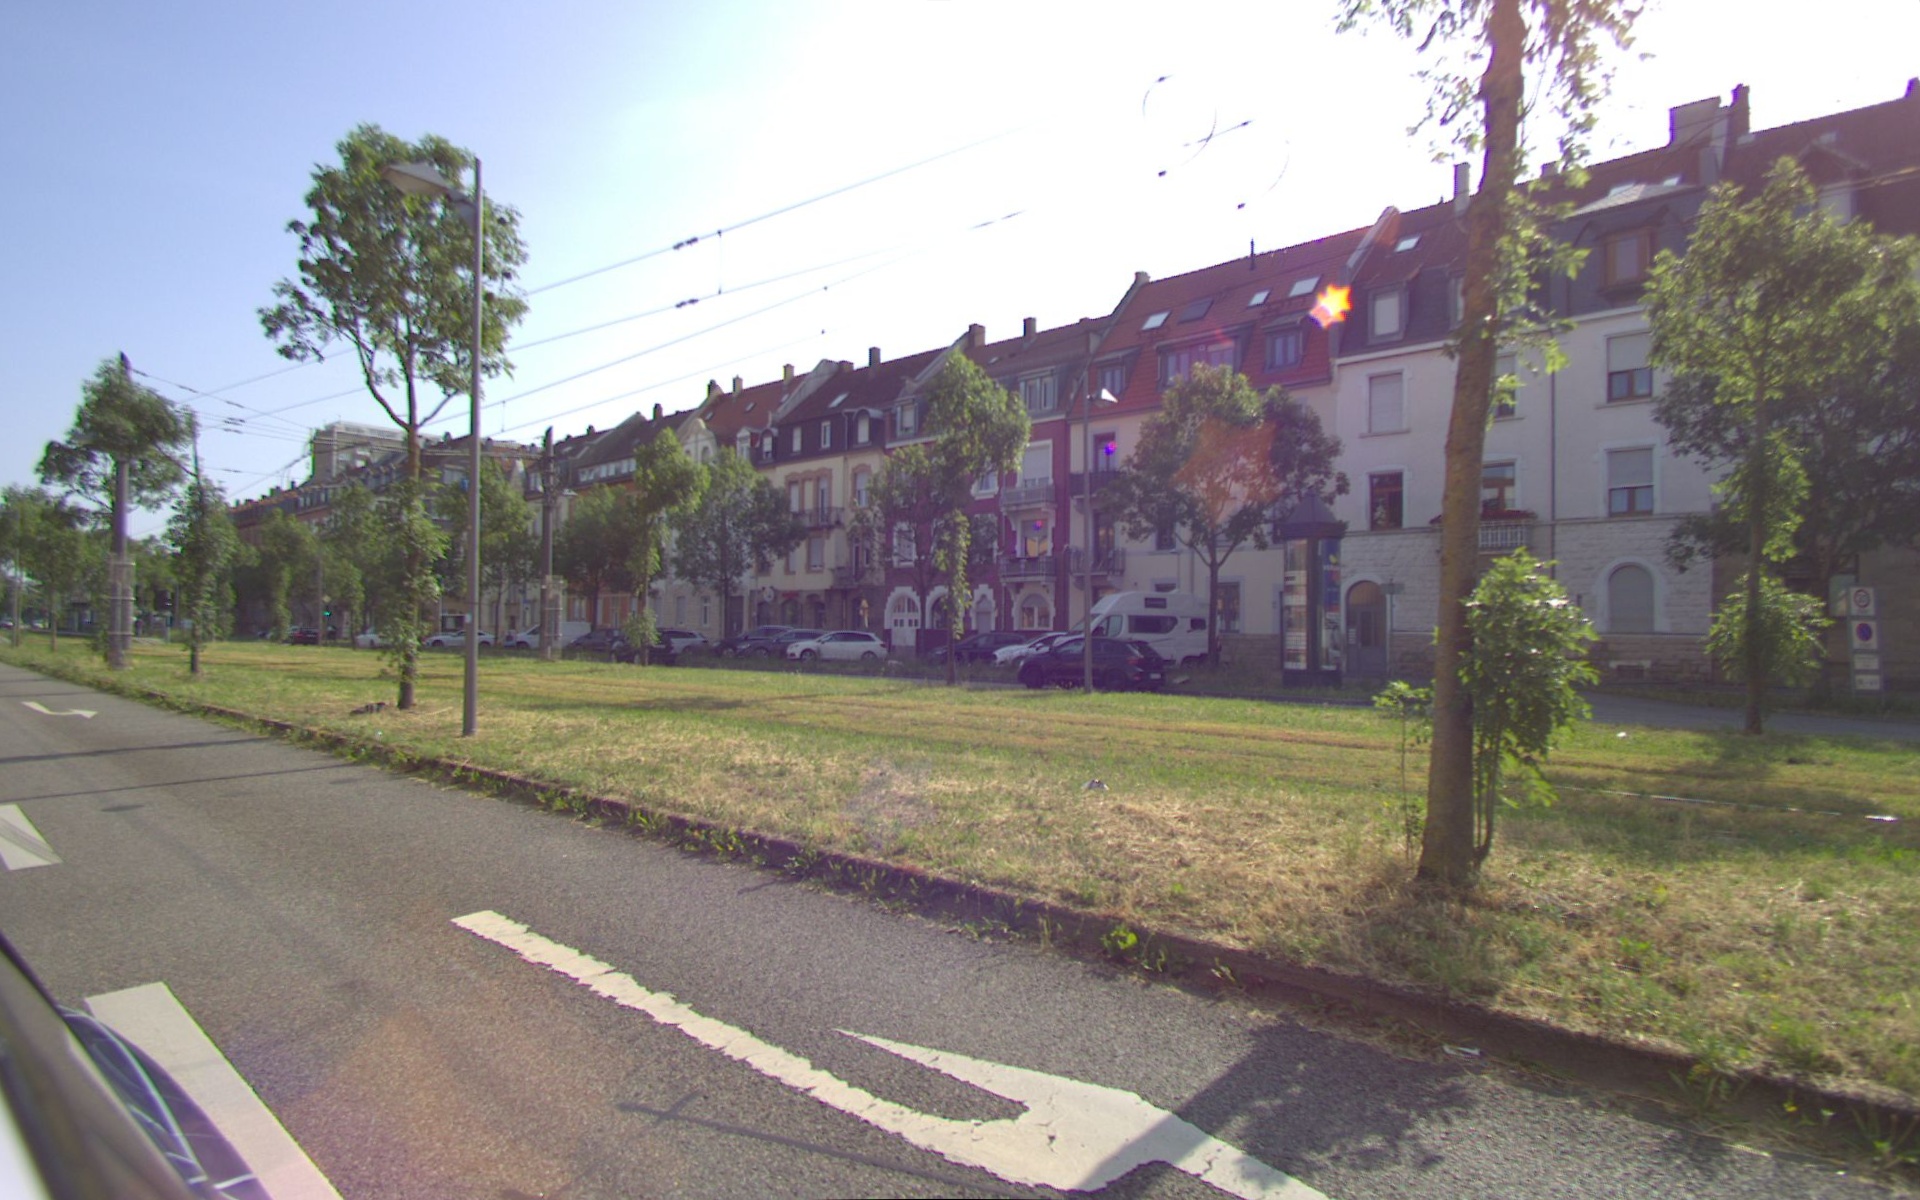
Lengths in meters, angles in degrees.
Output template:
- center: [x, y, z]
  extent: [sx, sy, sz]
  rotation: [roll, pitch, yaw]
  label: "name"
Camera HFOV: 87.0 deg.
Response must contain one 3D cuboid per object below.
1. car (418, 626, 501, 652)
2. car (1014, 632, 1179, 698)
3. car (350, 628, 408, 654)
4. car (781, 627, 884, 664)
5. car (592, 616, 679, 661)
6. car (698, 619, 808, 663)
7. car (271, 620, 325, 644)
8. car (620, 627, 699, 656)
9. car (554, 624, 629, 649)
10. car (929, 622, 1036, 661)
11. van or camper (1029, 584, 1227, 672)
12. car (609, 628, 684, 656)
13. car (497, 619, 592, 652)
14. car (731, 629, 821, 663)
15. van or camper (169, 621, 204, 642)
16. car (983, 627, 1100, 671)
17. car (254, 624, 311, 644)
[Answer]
- center: [-33.399, 2.597, 67.641]
  extent: [4.697, 1.496, 2.029]
  rotation: [-1, 0, -16]
  label: "car"
- center: [3.483, 1.616, 26.200]
  extent: [3.925, 1.444, 1.793]
  rotation: [0, 1, 42]
  label: "car"
- center: [-35.884, 2.513, 62.422]
  extent: [4.650, 1.470, 1.925]
  rotation: [-1, 0, 45]
  label: "car"
- center: [-5.153, 1.813, 40.785]
  extent: [3.948, 1.326, 1.667]
  rotation: [-1, 0, -13]
  label: "car"
- center: [-13.393, 1.540, 41.647]
  extent: [4.002, 1.668, 1.744]
  rotation: [0, 1, 45]
  label: "car"
- center: [-9.292, 1.801, 45.422]
  extent: [4.568, 1.756, 1.840]
  rotation: [-1, 0, -23]
  label: "car"
- center: [-48.422, 2.310, 73.948]
  extent: [5.378, 1.642, 1.972]
  rotation: [0, 1, 42]
  label: "car"
- center: [-14.716, 2.009, 49.716]
  extent: [3.625, 1.251, 1.667]
  rotation: [-1, 0, -13]
  label: "car"
- center: [-19.775, 1.943, 54.390]
  extent: [3.625, 1.251, 1.530]
  rotation: [-1, -2, -14]
  label: "car"
- center: [0.785, 1.495, 36.878]
  extent: [3.627, 1.251, 1.666]
  rotation: [-1, 0, -9]
  label: "car"
- center: [5.349, 0.844, 32.447]
  extent: [5.827, 2.593, 2.205]
  rotation: [-1, 0, -13]
  label: "van or camper"
- center: [-16.135, 2.155, 52.210]
  extent: [3.625, 1.251, 1.667]
  rotation: [-1, 0, -14]
  label: "car"
- center: [-24.129, 2.057, 58.970]
  extent: [4.869, 1.739, 1.862]
  rotation: [-1, 0, -13]
  label: "car"
- center: [-7.772, 1.915, 42.725]
  extent: [3.625, 1.251, 1.667]
  rotation: [-1, 0, -13]
  label: "car"
- center: [-82.260, 3.306, 107.580]
  extent: [5.351, 2.113, 1.931]
  rotation: [0, 0, 42]
  label: "van or camper"
- center: [2.779, 1.645, 34.742]
  extent: [3.625, 1.341, 1.667]
  rotation: [-1, 0, -13]
  label: "car"
- center: [-62.325, 3.108, 93.162]
  extent: [3.933, 1.739, 2.005]
  rotation: [-1, 0, -13]
  label: "car"
